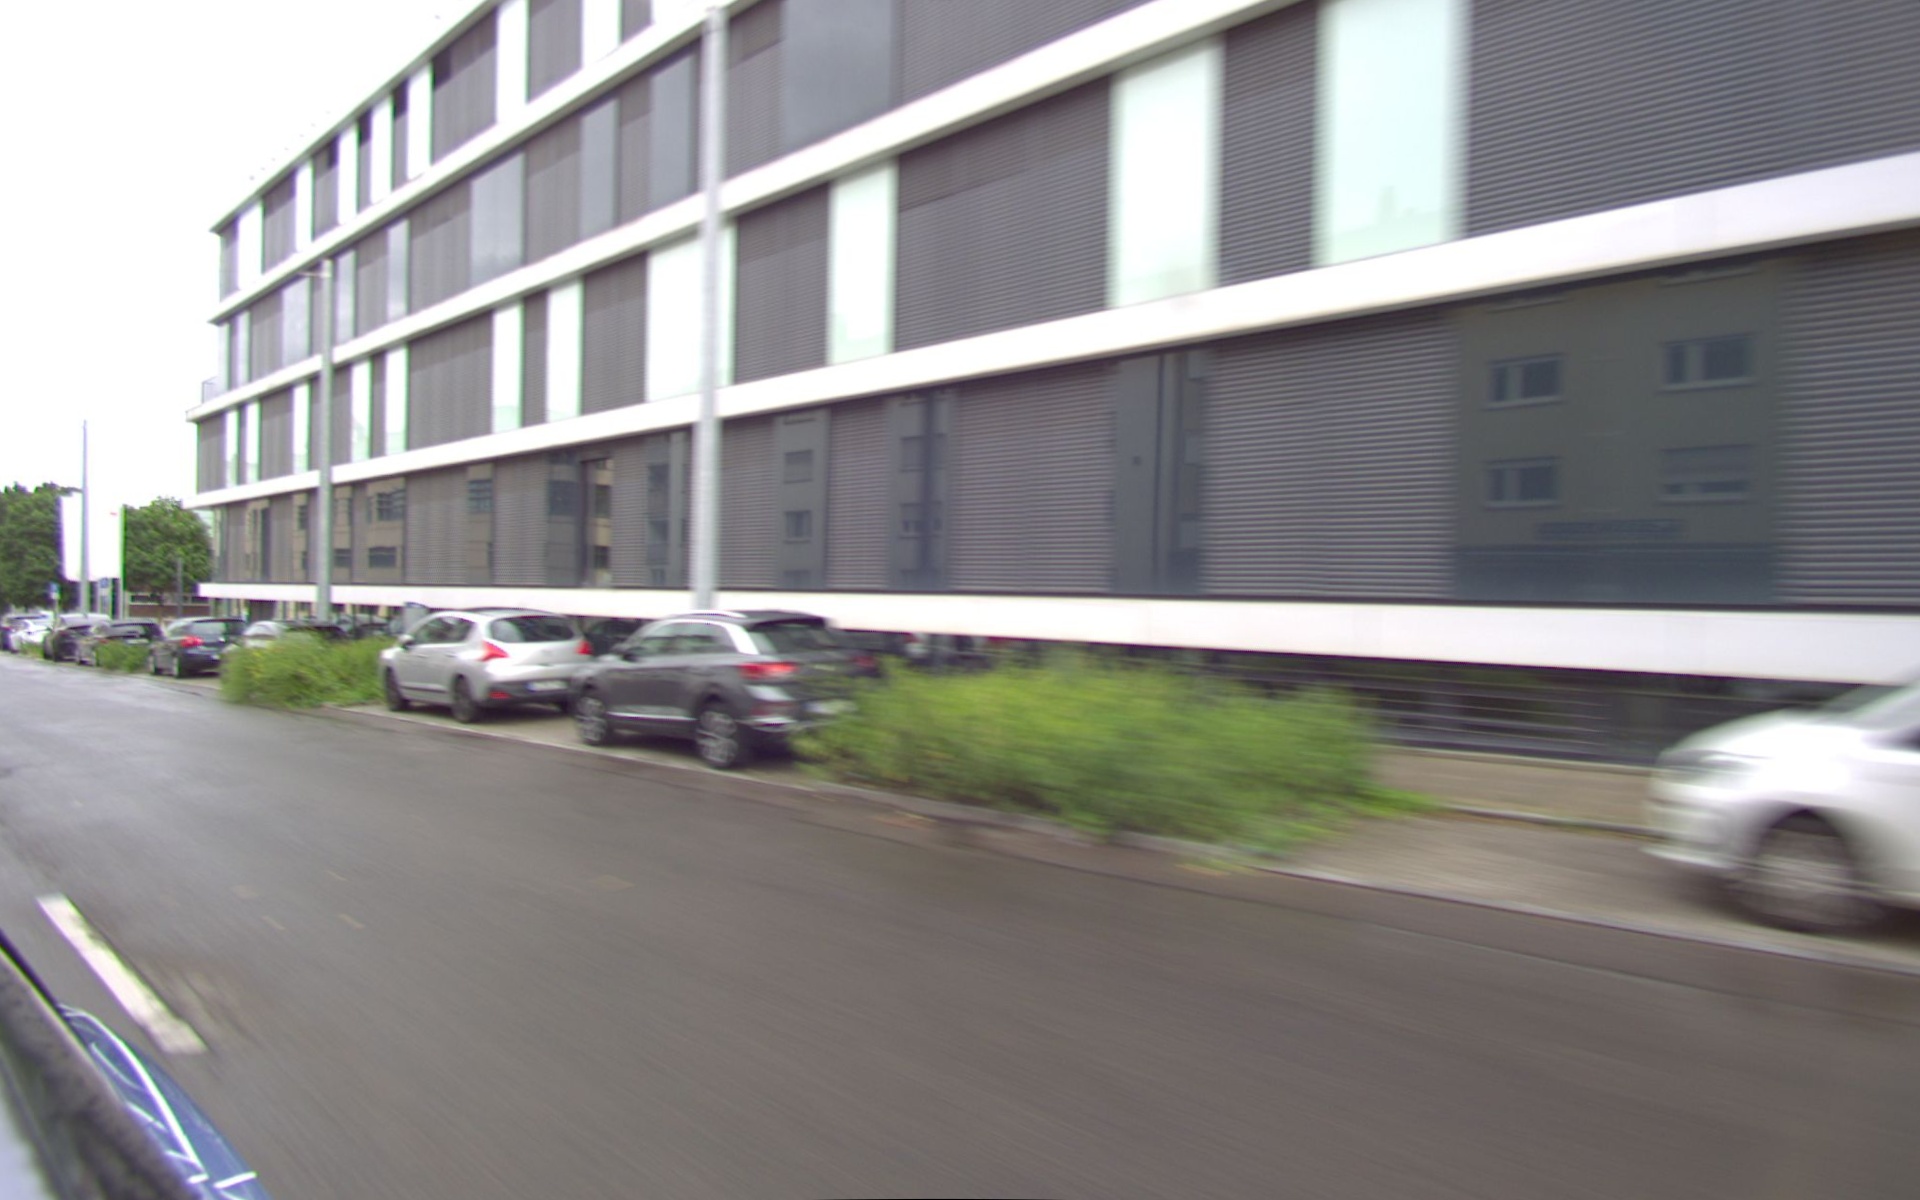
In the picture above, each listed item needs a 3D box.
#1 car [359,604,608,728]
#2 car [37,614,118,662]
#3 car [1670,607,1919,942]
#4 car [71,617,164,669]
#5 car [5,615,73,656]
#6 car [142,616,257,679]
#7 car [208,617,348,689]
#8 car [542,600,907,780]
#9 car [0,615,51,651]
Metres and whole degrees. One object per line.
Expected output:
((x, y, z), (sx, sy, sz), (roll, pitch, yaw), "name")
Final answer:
((-7.362, 0.900, 15.440), (4.360, 1.601, 1.811), (-1, 0, 41), "car")
((-31.008, 1.297, 35.531), (4.039, 1.597, 1.621), (-1, -1, 41), "car")
((5.433, 0.770, 4.487), (3.582, 1.478, 1.620), (-1, -1, 42), "car")
((-26.389, 1.297, 31.661), (4.039, 1.483, 1.621), (-1, -1, 41), "car")
((-38.307, 1.438, 42.073), (4.039, 1.597, 1.621), (-1, -1, 41), "car")
((-19.477, 1.160, 25.854), (4.039, 1.483, 1.545), (-1, -1, 41), "car")
((-14.881, 1.093, 22.010), (4.039, 1.404, 1.545), (-1, -1, 41), "car")
((-2.793, 0.845, 11.389), (4.362, 1.601, 1.862), (-1, 0, 43), "car")
((-43.255, 1.498, 46.581), (4.039, 1.597, 1.621), (-1, -1, 41), "car")
